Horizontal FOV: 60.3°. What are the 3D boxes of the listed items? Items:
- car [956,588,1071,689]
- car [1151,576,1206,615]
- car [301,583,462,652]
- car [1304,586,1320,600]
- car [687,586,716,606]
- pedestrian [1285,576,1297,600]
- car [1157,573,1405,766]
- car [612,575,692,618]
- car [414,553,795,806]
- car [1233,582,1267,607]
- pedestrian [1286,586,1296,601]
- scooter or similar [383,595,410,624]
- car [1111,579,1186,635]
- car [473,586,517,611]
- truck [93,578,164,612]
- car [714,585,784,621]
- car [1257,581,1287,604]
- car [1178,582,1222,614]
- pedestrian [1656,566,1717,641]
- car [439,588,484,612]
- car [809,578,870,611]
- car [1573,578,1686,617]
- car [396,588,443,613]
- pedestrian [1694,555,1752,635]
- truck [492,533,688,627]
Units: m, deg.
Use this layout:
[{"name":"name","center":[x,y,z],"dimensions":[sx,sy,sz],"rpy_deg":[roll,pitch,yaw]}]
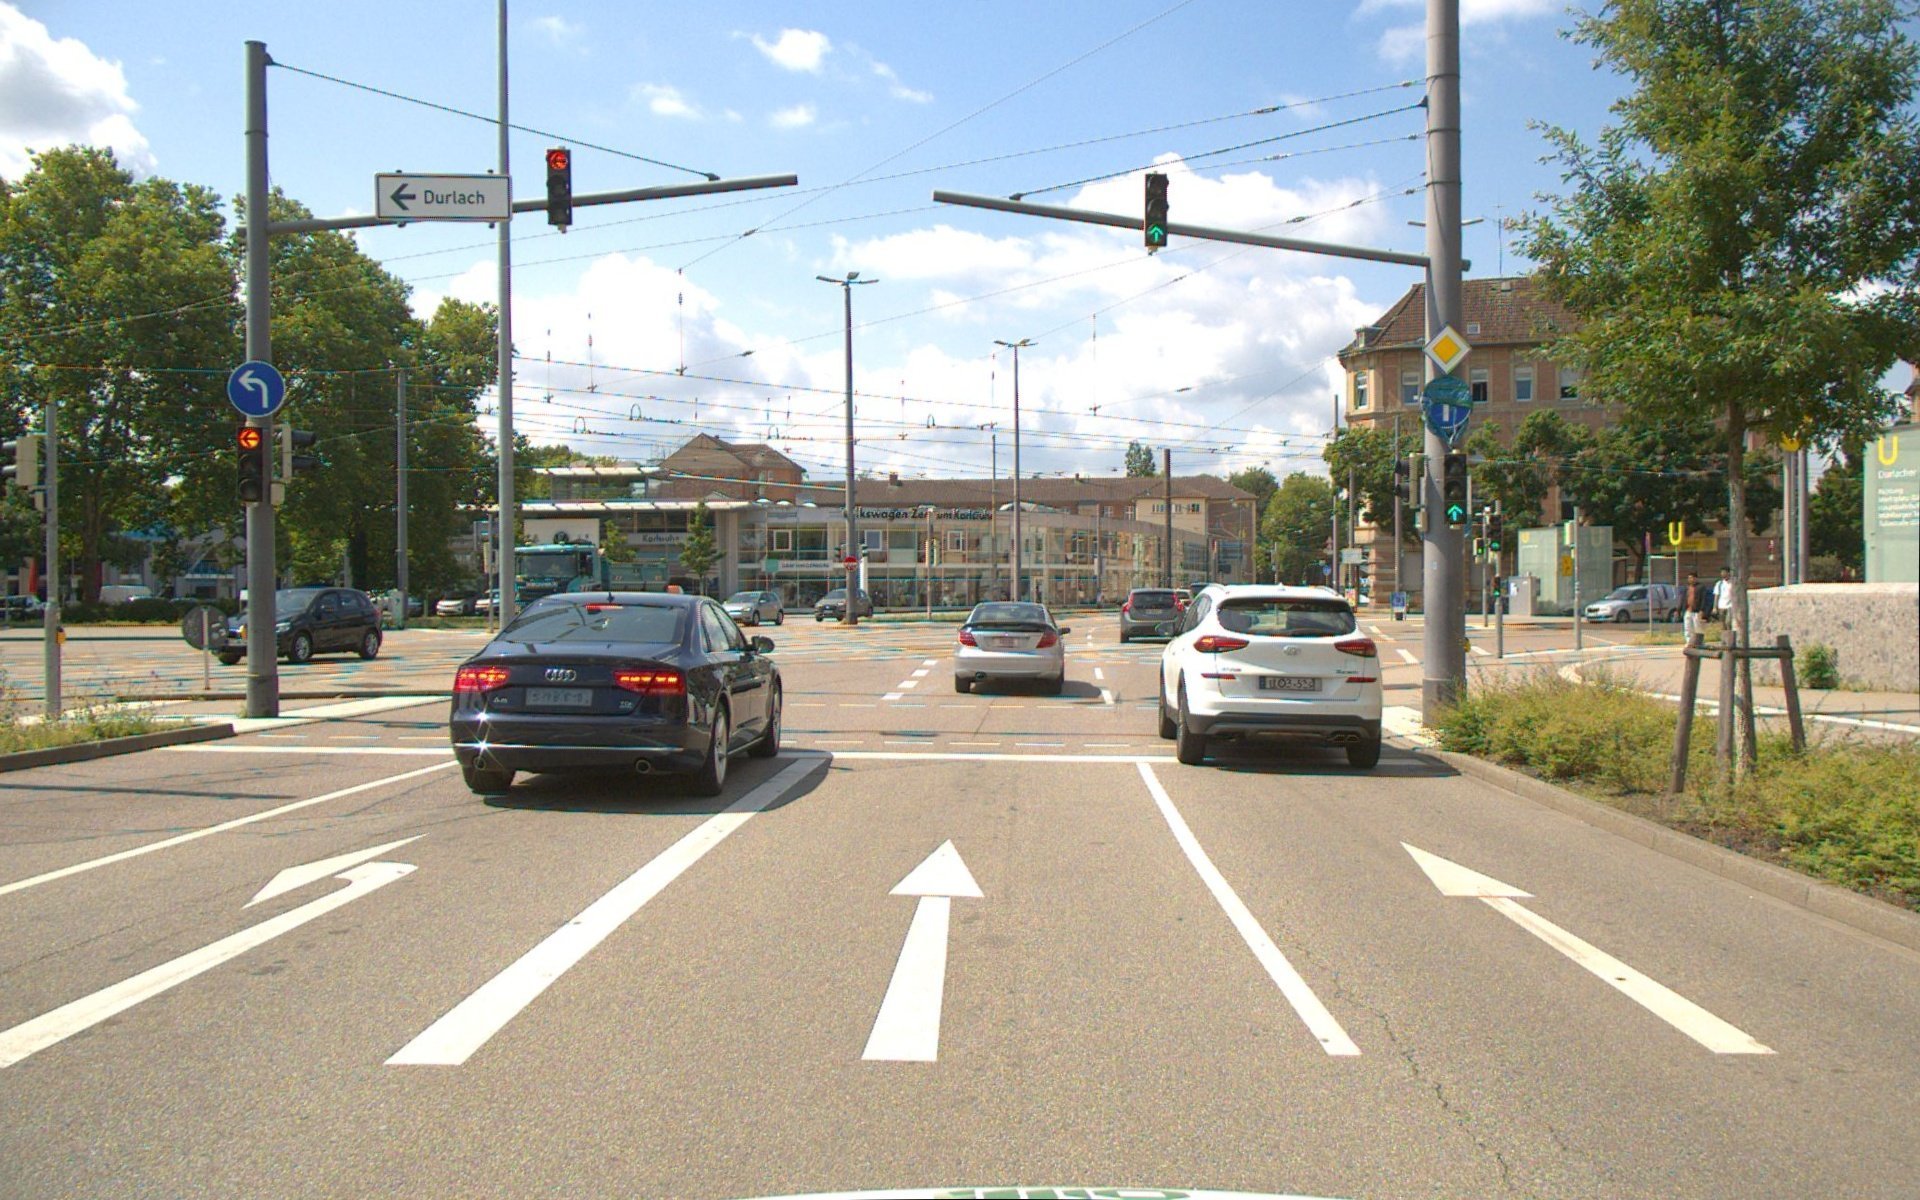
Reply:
[{"name":"car","center":[0.847,0.563,26.906],"dimensions":[1.705,1.416,4.181],"rpy_deg":[1,2,1]},{"name":"car","center":[9.744,-0.206,73.654],"dimensions":[1.841,1.670,3.960],"rpy_deg":[0,1,16]},{"name":"car","center":[-13.240,0.357,38.118],"dimensions":[1.618,1.494,4.157],"rpy_deg":[0,0,11]},{"name":"car","center":[45.644,-0.904,214.556],"dimensions":[1.841,1.722,3.960],"rpy_deg":[0,1,16]},{"name":"car","center":[-17.431,-0.268,111.301],"dimensions":[1.620,1.272,3.986],"rpy_deg":[1,-1,-13]},{"name":"pedestrian","center":[21.227,-0.778,106.080],"dimensions":[0.677,1.483,0.680],"rpy_deg":[0,-1,16]},{"name":"car","center":[3.047,0.585,16.530],"dimensions":[1.842,1.670,4.234],"rpy_deg":[0,1,3]},{"name":"car","center":[-13.518,-0.170,72.817],"dimensions":[1.681,1.832,4.744],"rpy_deg":[-1,0,13]},{"name":"car","center":[-2.588,0.503,13.313],"dimensions":[1.888,1.670,4.794],"rpy_deg":[0,1,2]},{"name":"car","center":[19.190,-0.375,109.402],"dimensions":[1.841,1.670,3.960],"rpy_deg":[0,1,16]},{"name":"pedestrian","center":[21.195,-0.417,106.012],"dimensions":[0.513,0.922,1.562],"rpy_deg":[0,-1,15]},{"name":"scooter or similar","center":[-21.891,0.371,64.283],"dimensions":[0.370,1.135,1.095],"rpy_deg":[0,-1,19]},{"name":"car","center":[5.157,0.170,44.894],"dimensions":[1.841,1.444,3.960],"rpy_deg":[0,1,9]},{"name":"car","center":[-31.760,-0.102,113.036],"dimensions":[1.953,1.601,4.176],"rpy_deg":[1,-1,-2]},{"name":"truck","center":[-52.846,-0.333,105.223],"dimensions":[1.765,2.157,4.782],"rpy_deg":[0,0,5]},{"name":"car","center":[-8.926,0.102,70.364],"dimensions":[1.618,1.459,4.275],"rpy_deg":[0,0,12]},{"name":"car","center":[23.236,-0.549,123.202],"dimensions":[1.841,1.670,3.960],"rpy_deg":[0,1,16]},{"name":"car","center":[12.986,-0.124,89.372],"dimensions":[1.841,1.670,3.960],"rpy_deg":[0,1,15]},{"name":"pedestrian","center":[16.981,0.082,38.653],"dimensions":[0.955,1.686,0.854],"rpy_deg":[-2,-1,-33]},{"name":"car","center":[-34.107,0.009,113.242],"dimensions":[1.953,1.601,4.176],"rpy_deg":[1,-1,-2]},{"name":"car","center":[-5.834,-0.292,80.412],"dimensions":[1.681,1.558,4.124],"rpy_deg":[0,0,15]},{"name":"car","center":[26.507,-0.116,65.504],"dimensions":[4.065,1.499,1.714],"rpy_deg":[-1,0,-20]},{"name":"car","center":[-36.918,0.064,113.143],"dimensions":[1.953,1.601,4.176],"rpy_deg":[1,-1,-2]},{"name":"pedestrian","center":[17.487,-0.101,37.916],"dimensions":[0.748,1.782,0.854],"rpy_deg":[-2,-1,-33]},{"name":"truck","center":[-12.308,-0.663,56.089],"dimensions":[2.824,2.902,8.799],"rpy_deg":[0,0,14]}]
